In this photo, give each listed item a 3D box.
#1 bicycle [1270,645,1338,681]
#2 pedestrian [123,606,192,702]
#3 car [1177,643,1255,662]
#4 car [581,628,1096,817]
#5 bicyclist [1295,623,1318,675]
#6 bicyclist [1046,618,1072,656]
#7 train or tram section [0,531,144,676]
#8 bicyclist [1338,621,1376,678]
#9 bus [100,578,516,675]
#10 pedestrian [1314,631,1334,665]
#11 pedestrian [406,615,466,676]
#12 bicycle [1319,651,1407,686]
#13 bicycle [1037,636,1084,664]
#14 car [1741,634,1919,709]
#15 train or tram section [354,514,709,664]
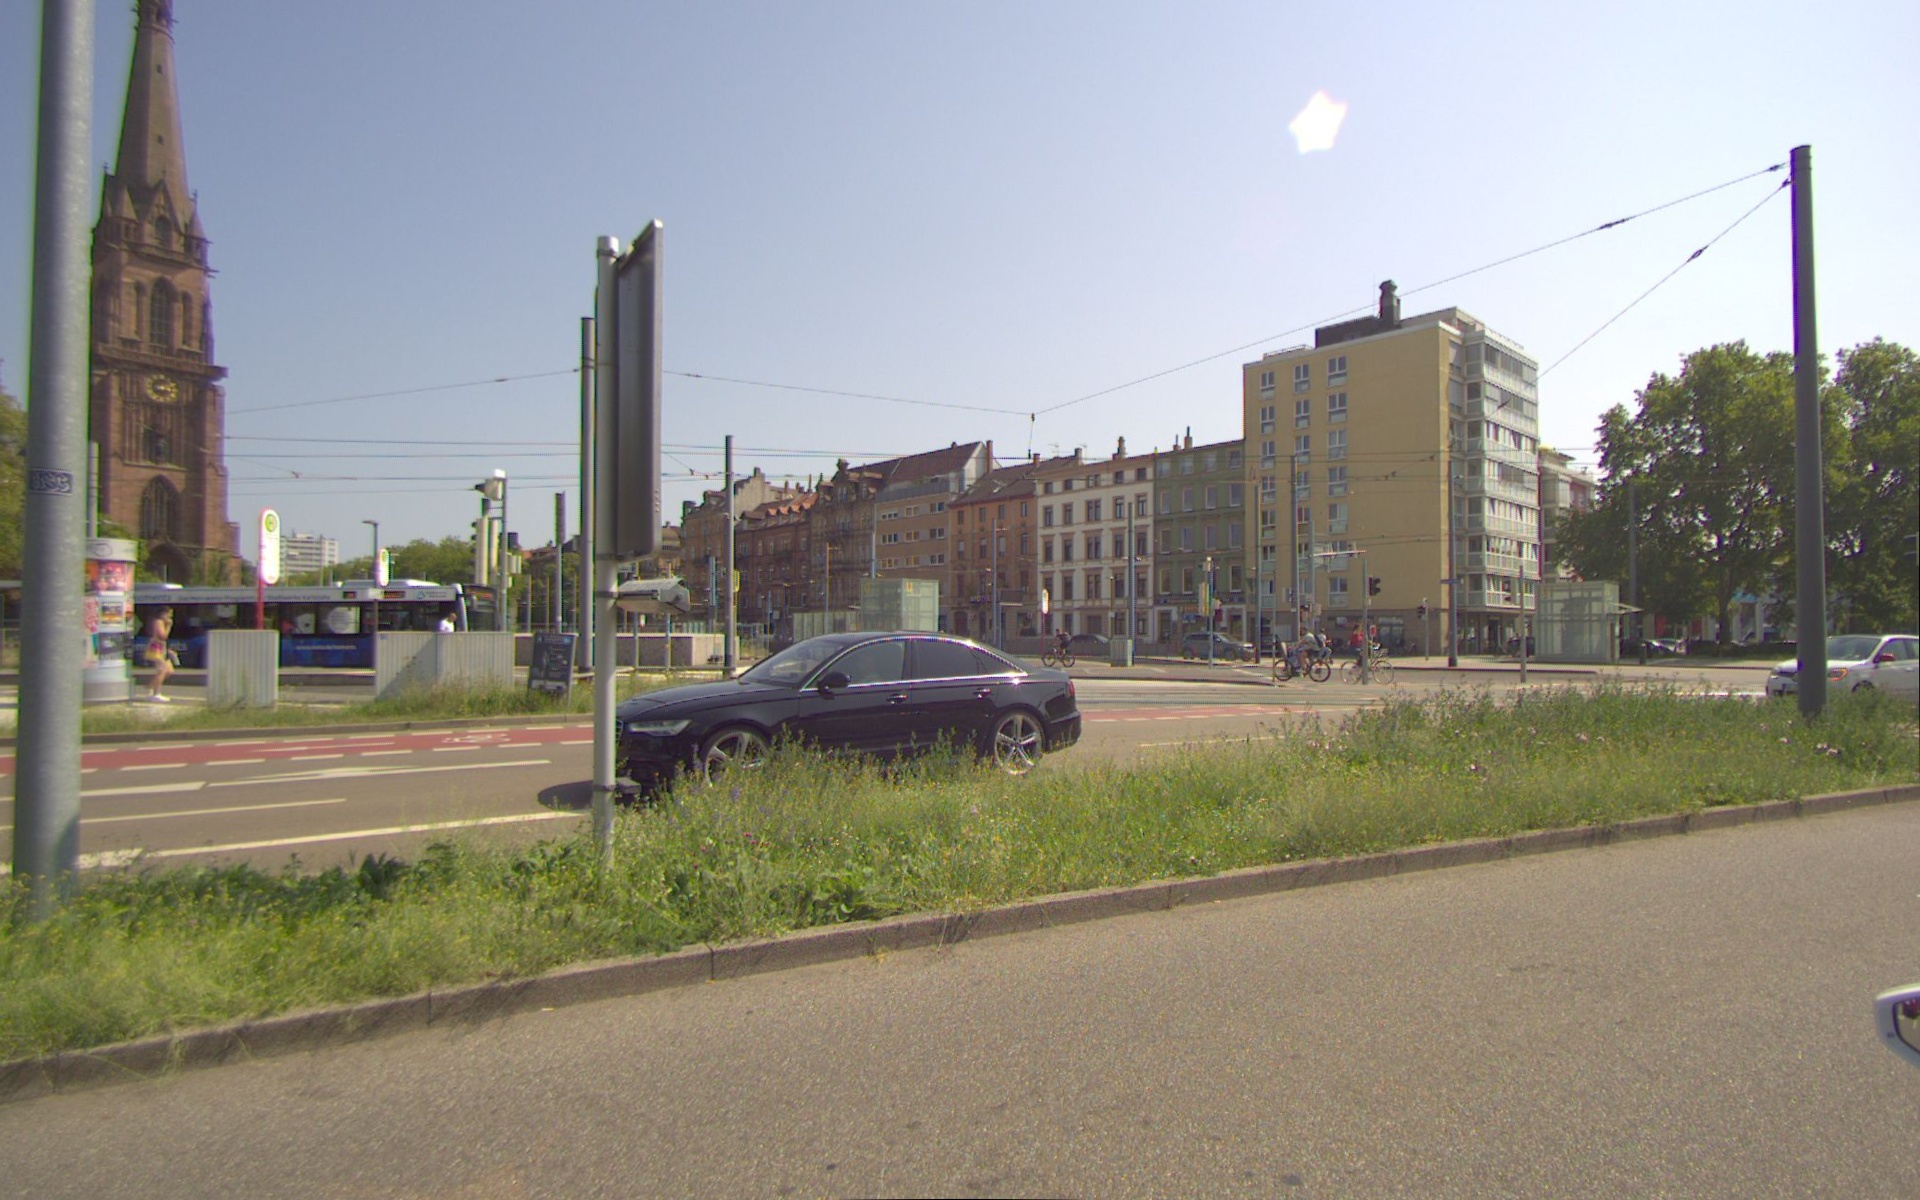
[{"bbox_3d":[11.158,2.036,32.614,2.002,1.152,0.699,0,-2,11],"label":"bicycle"},{"bbox_3d":[-14.922,1.007,18.701,0.617,1.724,0.785,3,-2,-12],"label":"pedestrian"},{"bbox_3d":[14.224,2.895,55.916,3.840,1.000,1.707,-2,-3,42],"label":"car"},{"bbox_3d":[-1.061,1.027,9.825,4.713,1.429,1.761,2,-1,-32],"label":"car"},{"bbox_3d":[11.247,1.579,32.609,0.607,1.671,0.693,0,-2,11],"label":"bicyclist"},{"bbox_3d":[4.351,1.630,44.318,0.958,1.675,0.661,-1,-2,32],"label":"bicyclist"},{"bbox_3d":[-27.277,0.236,26.982,8.081,3.616,3.147,-1,-3,1],"label":"train or tram section"},{"bbox_3d":[11.846,1.458,29.973,0.602,1.664,0.831,1,-2,-43],"label":"bicyclist"},{"bbox_3d":[-21.984,0.923,34.346,12.234,3.111,3.108,0,-2,1],"label":"bus"},{"bbox_3d":[17.901,2.364,49.407,0.809,1.654,0.642,2,-3,-43],"label":"pedestrian"},{"bbox_3d":[-16.746,1.464,32.136,1.284,1.910,1.039,0,-3,3],"label":"pedestrian"},{"bbox_3d":[11.947,2.007,29.850,0.599,0.966,2.387,2,-3,-42],"label":"bicycle"},{"bbox_3d":[4.457,2.179,44.477,0.958,1.194,2.826,-1,-2,31],"label":"bicycle"},{"bbox_3d":[18.397,1.418,20.441,3.995,1.443,1.773,1,-2,-11],"label":"car"},{"bbox_3d":[-11.168,-0.192,26.833,8.081,3.616,3.147,-1,-3,1],"label":"train or tram section"}]
